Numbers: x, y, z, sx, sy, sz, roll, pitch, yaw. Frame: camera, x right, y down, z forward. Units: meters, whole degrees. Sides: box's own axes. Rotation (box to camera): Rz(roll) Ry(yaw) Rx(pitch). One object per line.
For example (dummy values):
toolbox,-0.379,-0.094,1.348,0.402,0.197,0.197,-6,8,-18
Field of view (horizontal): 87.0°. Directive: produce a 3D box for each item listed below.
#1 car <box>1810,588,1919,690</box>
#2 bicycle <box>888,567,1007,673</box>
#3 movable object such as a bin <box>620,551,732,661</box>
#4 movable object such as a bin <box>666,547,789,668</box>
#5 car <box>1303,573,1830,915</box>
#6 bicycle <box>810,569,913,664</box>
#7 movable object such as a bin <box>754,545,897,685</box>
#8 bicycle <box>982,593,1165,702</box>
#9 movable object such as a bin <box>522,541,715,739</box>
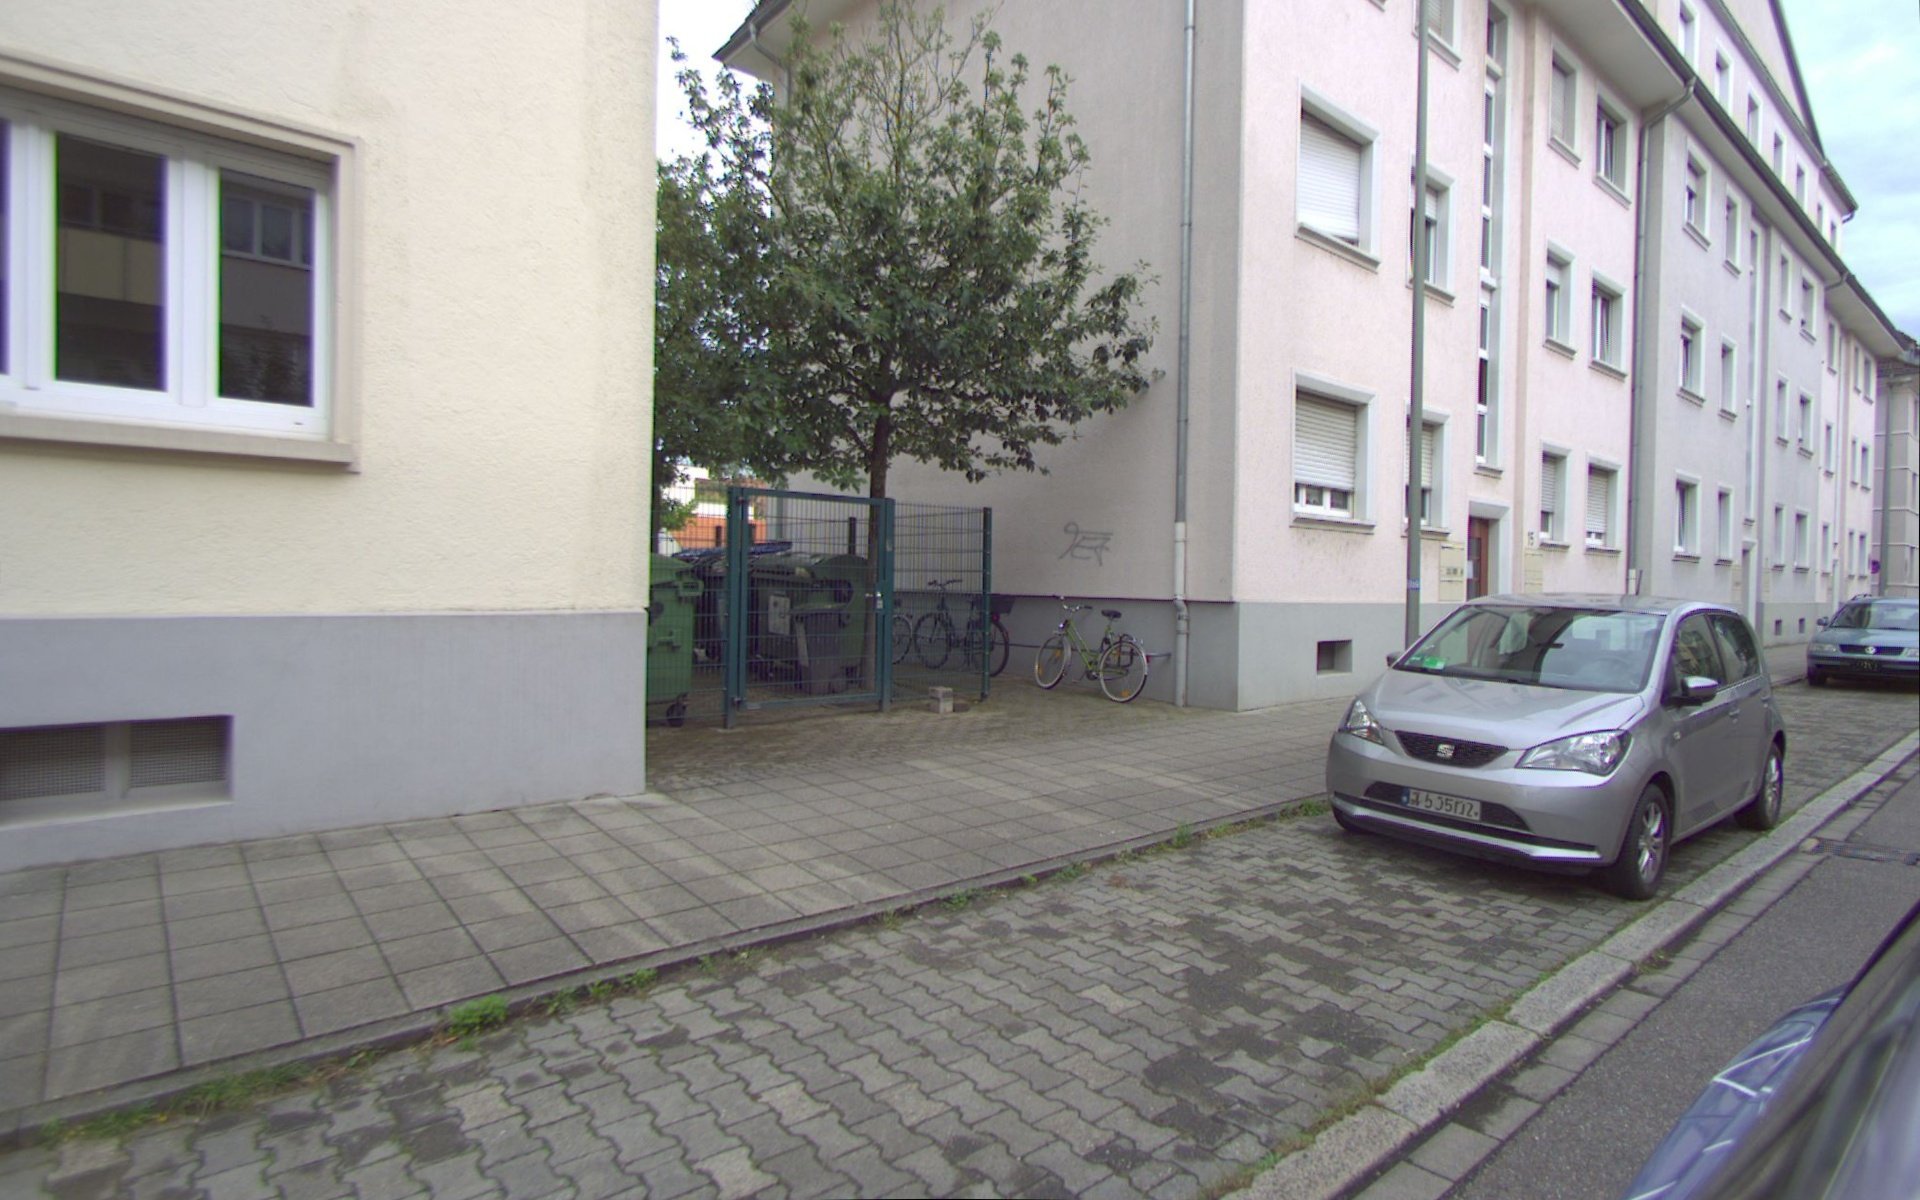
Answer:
car,15.591,0.567,16.722,4.190,1.487,1.728,0,2,-41
bicycle,-0.182,0.227,13.146,0.589,1.298,1.616,0,1,-44
movable object such as a bin,-4.013,0.062,14.262,1.129,1.462,1.163,0,1,-41
movable object such as a bin,-3.003,0.078,13.048,1.129,1.462,1.163,0,1,-41
car,4.034,0.610,6.450,3.990,1.510,1.728,0,1,-41
bicycle,-1.441,0.209,14.574,0.589,1.298,1.616,0,1,-44
movable object such as a bin,-1.507,0.139,11.310,1.129,1.462,1.163,0,1,-41
bicycle,1.233,0.479,11.496,0.637,1.090,2.212,0,1,-41
movable object such as a bin,-2.795,0.278,8.259,1.129,1.462,1.163,0,1,-41
